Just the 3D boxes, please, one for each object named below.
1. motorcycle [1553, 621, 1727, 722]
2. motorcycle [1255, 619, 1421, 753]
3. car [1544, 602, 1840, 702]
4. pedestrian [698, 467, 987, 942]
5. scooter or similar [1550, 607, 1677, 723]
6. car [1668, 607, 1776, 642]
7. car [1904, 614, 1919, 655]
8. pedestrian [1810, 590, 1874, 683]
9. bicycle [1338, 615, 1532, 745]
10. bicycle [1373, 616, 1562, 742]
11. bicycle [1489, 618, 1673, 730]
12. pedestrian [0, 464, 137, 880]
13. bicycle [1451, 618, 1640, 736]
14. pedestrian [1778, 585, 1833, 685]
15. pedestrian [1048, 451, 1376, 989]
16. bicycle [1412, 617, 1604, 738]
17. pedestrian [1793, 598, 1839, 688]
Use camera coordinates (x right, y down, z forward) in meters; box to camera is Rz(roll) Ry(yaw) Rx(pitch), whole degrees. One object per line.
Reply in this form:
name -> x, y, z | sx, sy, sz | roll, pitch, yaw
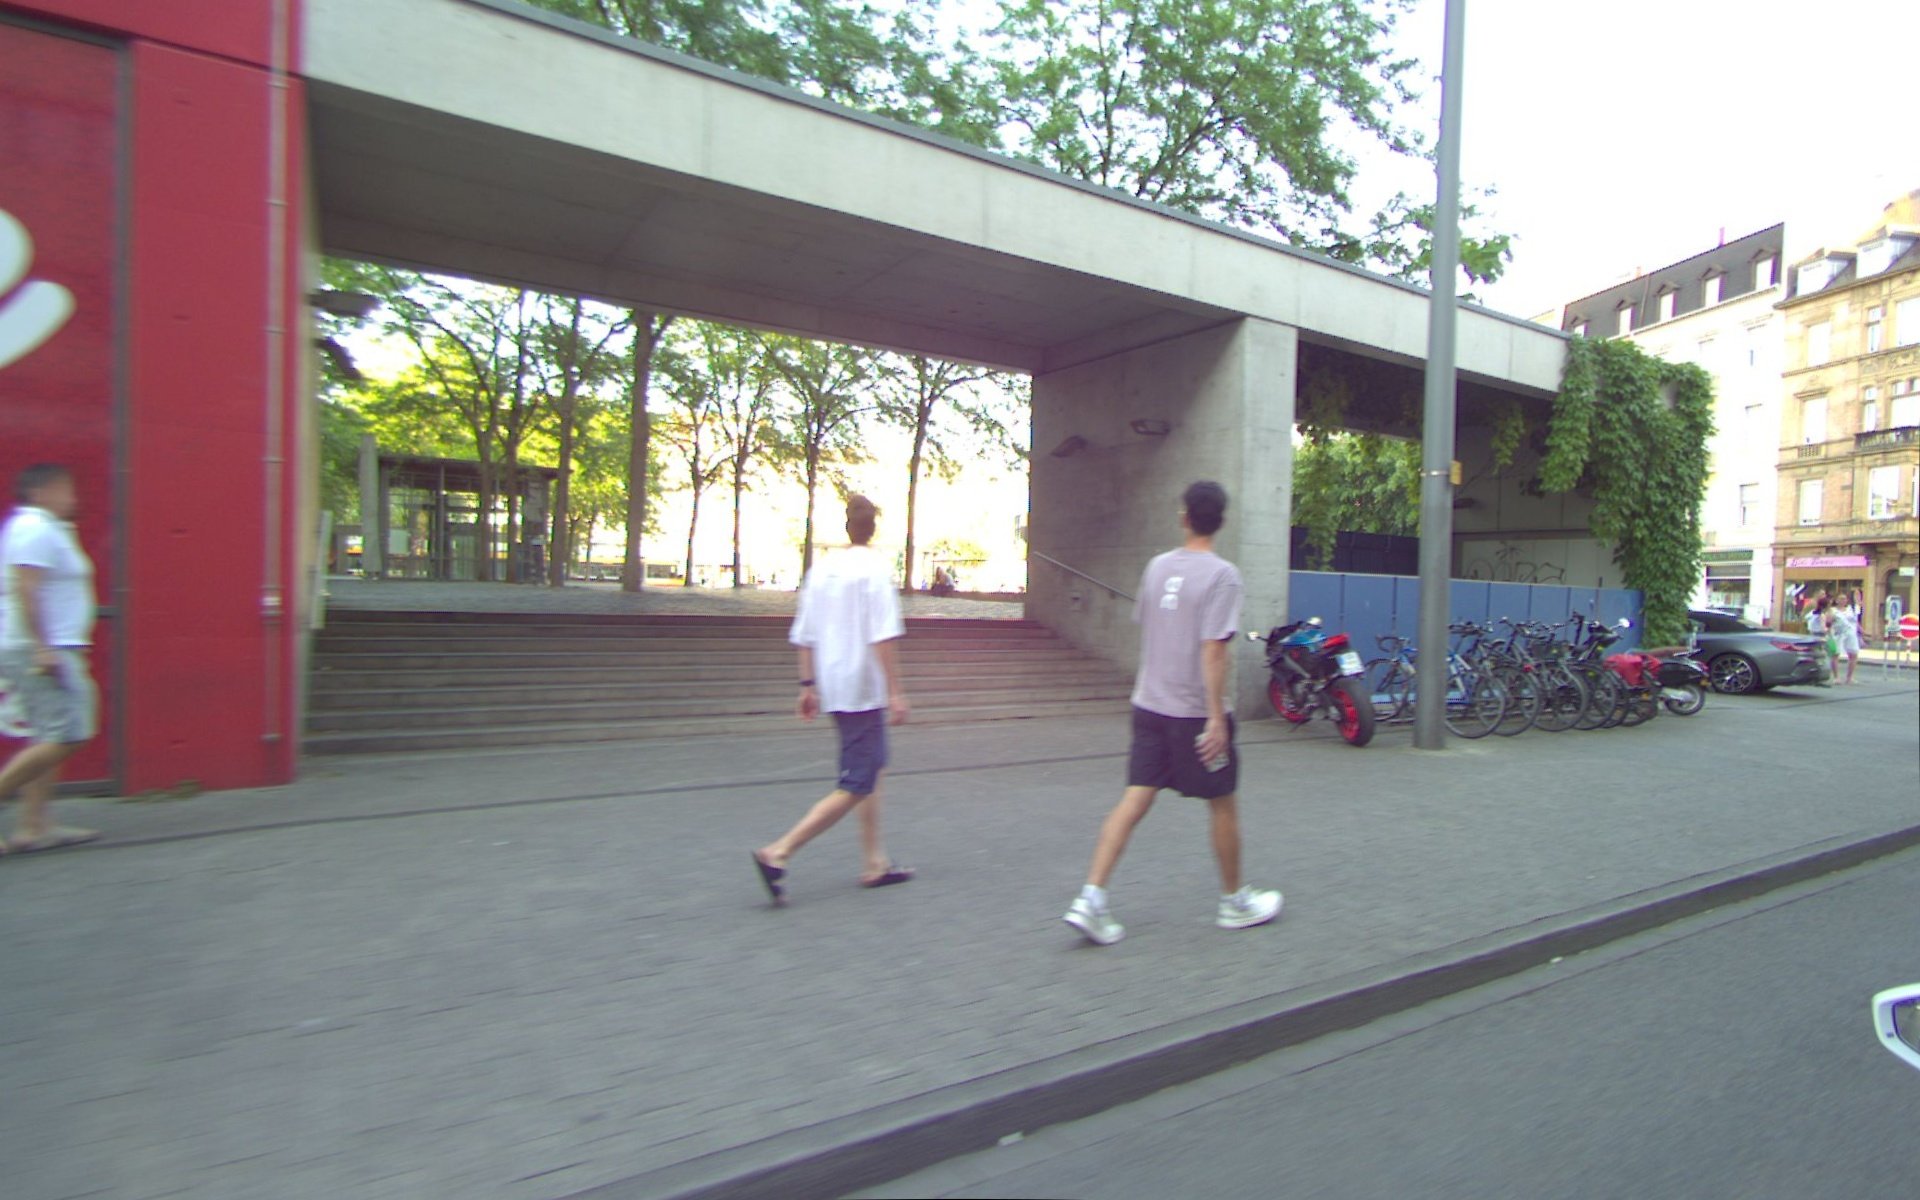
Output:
motorcycle -> 8.662, 0.889, 12.874 | 1.718, 1.116, 0.566 | 3, 2, 25
motorcycle -> 3.589, 0.777, 9.735 | 0.750, 1.078, 1.804 | 2, 2, -5
car -> 13.015, 0.843, 18.054 | 1.875, 1.521, 3.955 | 1, 0, -39
pedestrian -> -0.532, 0.398, 4.443 | 0.997, 1.837, 0.737 | 1, 3, -32
scooter or similar -> 7.977, 0.761, 12.293 | 1.191, 1.291, 0.419 | 4, 3, 44
car -> 36.475, 1.161, 48.217 | 1.767, 1.530, 3.994 | 2, 0, -8
car -> 37.942, 1.363, 37.280 | 1.767, 1.530, 3.994 | 2, 0, -8
pedestrian -> 17.255, 0.701, 19.672 | 0.644, 1.769, 0.674 | 1, 1, 8
bicycle -> 4.850, 0.776, 10.386 | 0.494, 1.122, 1.784 | 1, 2, -32
bicycle -> 5.346, 0.789, 10.702 | 0.494, 1.122, 1.786 | 1, 2, -28
bicycle -> 7.301, 0.830, 11.914 | 0.494, 1.122, 1.785 | 1, 2, -31
pedestrian -> -4.318, 0.302, 4.566 | 0.842, 1.778, 0.710 | 1, 1, -43
bicycle -> 6.593, 0.828, 11.414 | 0.495, 1.122, 1.783 | 1, 2, -34
pedestrian -> 16.468, 0.674, 19.573 | 0.625, 1.907, 0.581 | 1, 1, -26
pedestrian -> 1.030, 0.426, 4.158 | 1.038, 1.919, 0.740 | 1, 2, -31
bicycle -> 5.984, 0.807, 11.077 | 0.495, 1.122, 1.781 | 1, 2, -36
pedestrian -> 16.126, 0.799, 18.925 | 0.514, 1.665, 0.498 | 1, 1, -29
